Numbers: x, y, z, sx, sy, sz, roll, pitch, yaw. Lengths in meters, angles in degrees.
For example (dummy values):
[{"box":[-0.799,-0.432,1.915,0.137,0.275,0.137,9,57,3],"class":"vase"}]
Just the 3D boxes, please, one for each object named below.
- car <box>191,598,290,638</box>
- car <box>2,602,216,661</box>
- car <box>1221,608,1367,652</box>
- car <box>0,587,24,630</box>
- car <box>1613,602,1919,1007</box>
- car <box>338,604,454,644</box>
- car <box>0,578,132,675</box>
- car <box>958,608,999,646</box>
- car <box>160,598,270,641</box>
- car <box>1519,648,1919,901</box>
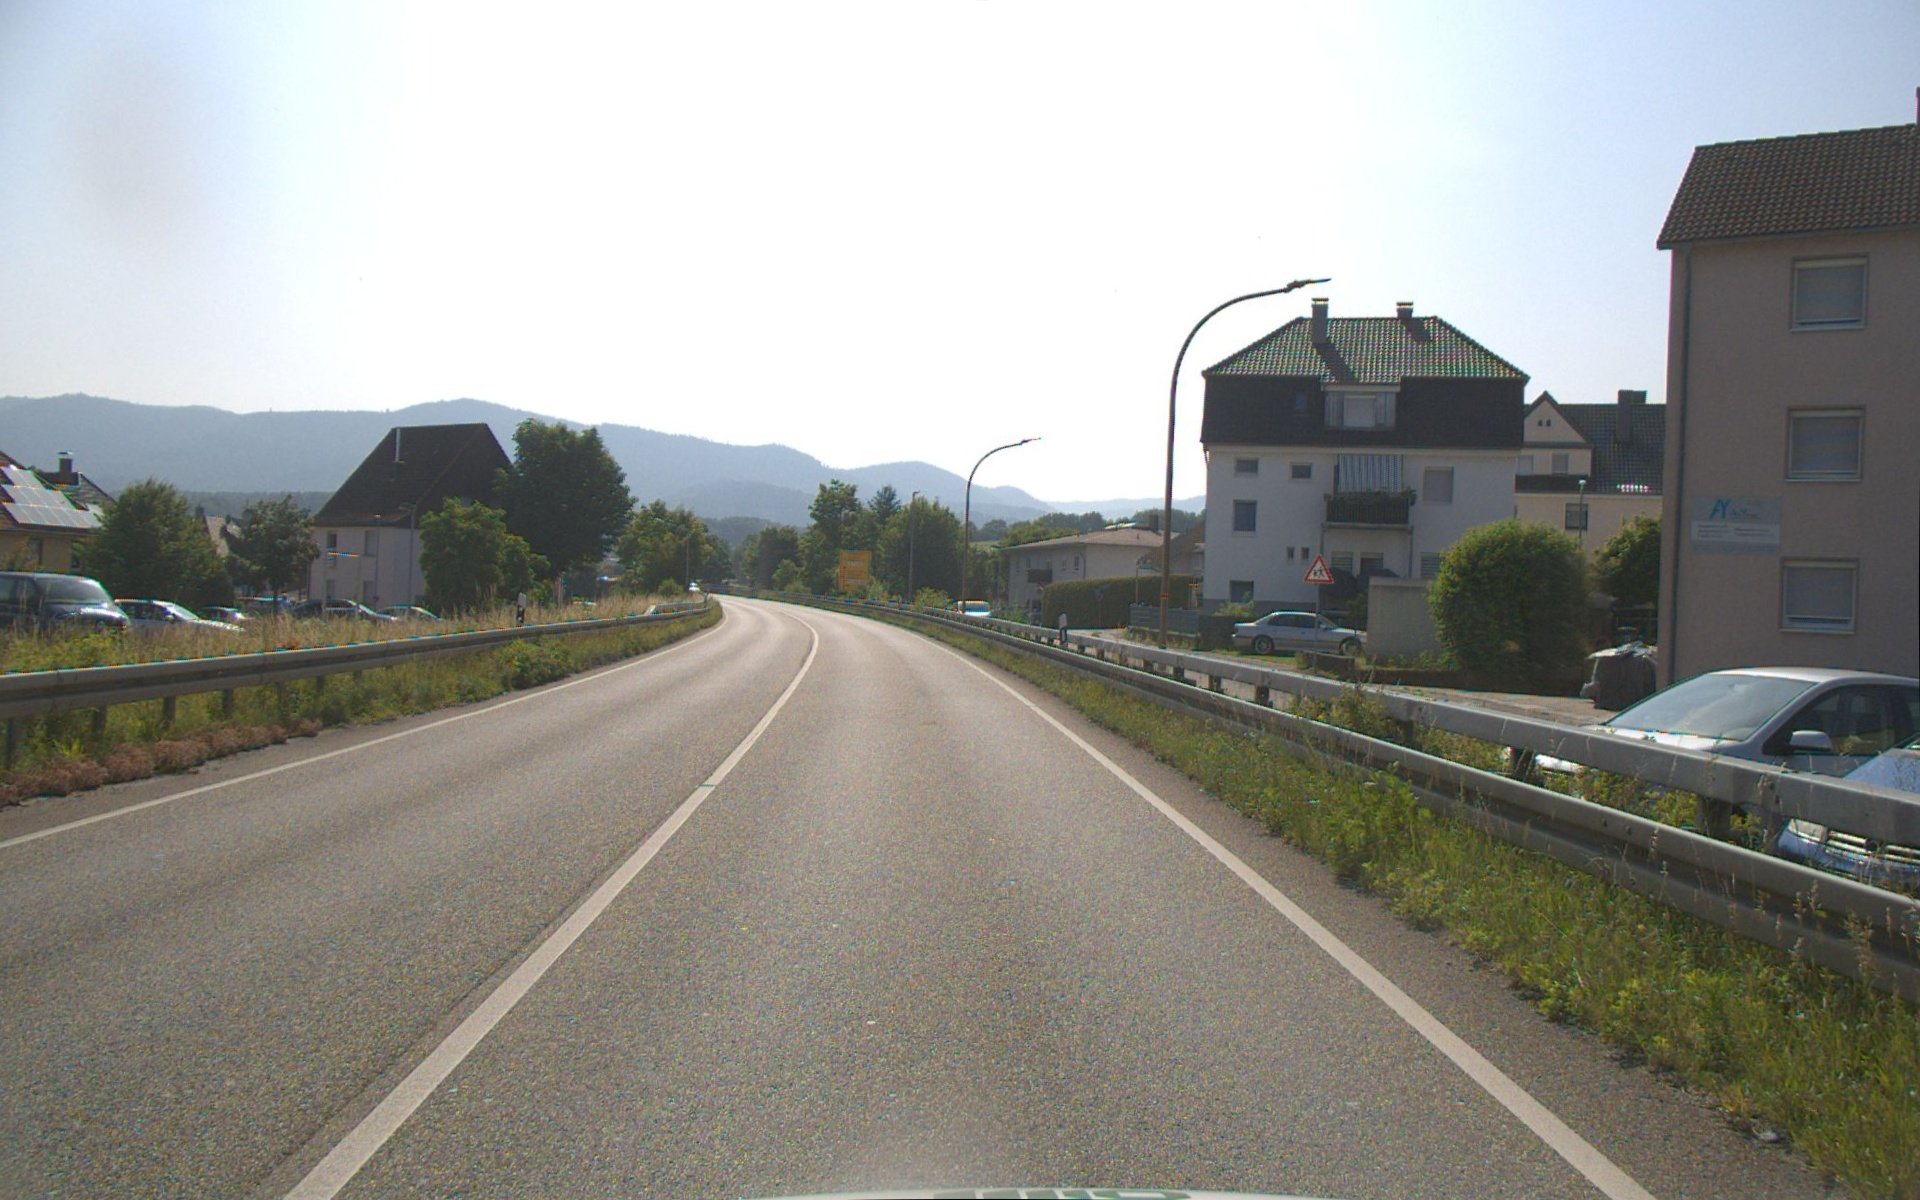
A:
[{"box":[-36.571,0.918,84.134,4.071,1.662,1.863,5,-2,6],"class":"car"},{"box":[-21.811,0.806,42.548,4.529,1.406,1.740,1,0,-9],"class":"car"},{"box":[11.081,0.970,54.910,4.503,1.372,1.755,0,1,23],"class":"car"},{"box":[-40.403,0.265,66.481,4.463,1.662,1.862,2,0,2],"class":"car"},{"box":[5.594,0.996,7.970,4.162,1.599,1.911,5,-1,-14],"class":"car"},{"box":[-23.465,0.991,68.949,4.214,1.531,1.873,1,0,-4],"class":"car"},{"box":[-21.008,0.544,37.681,4.812,2.049,1.991,1,0,39],"class":"car"},{"box":[1.019,1.487,93.750,1.954,1.979,5.358,1,1,-3],"class":"car"},{"box":[-36.085,0.934,80.191,4.462,1.662,1.863,5,-2,9],"class":"car"},{"box":[5.514,1.120,10.748,3.208,1.400,1.544,4,-1,-13],"class":"car"}]
